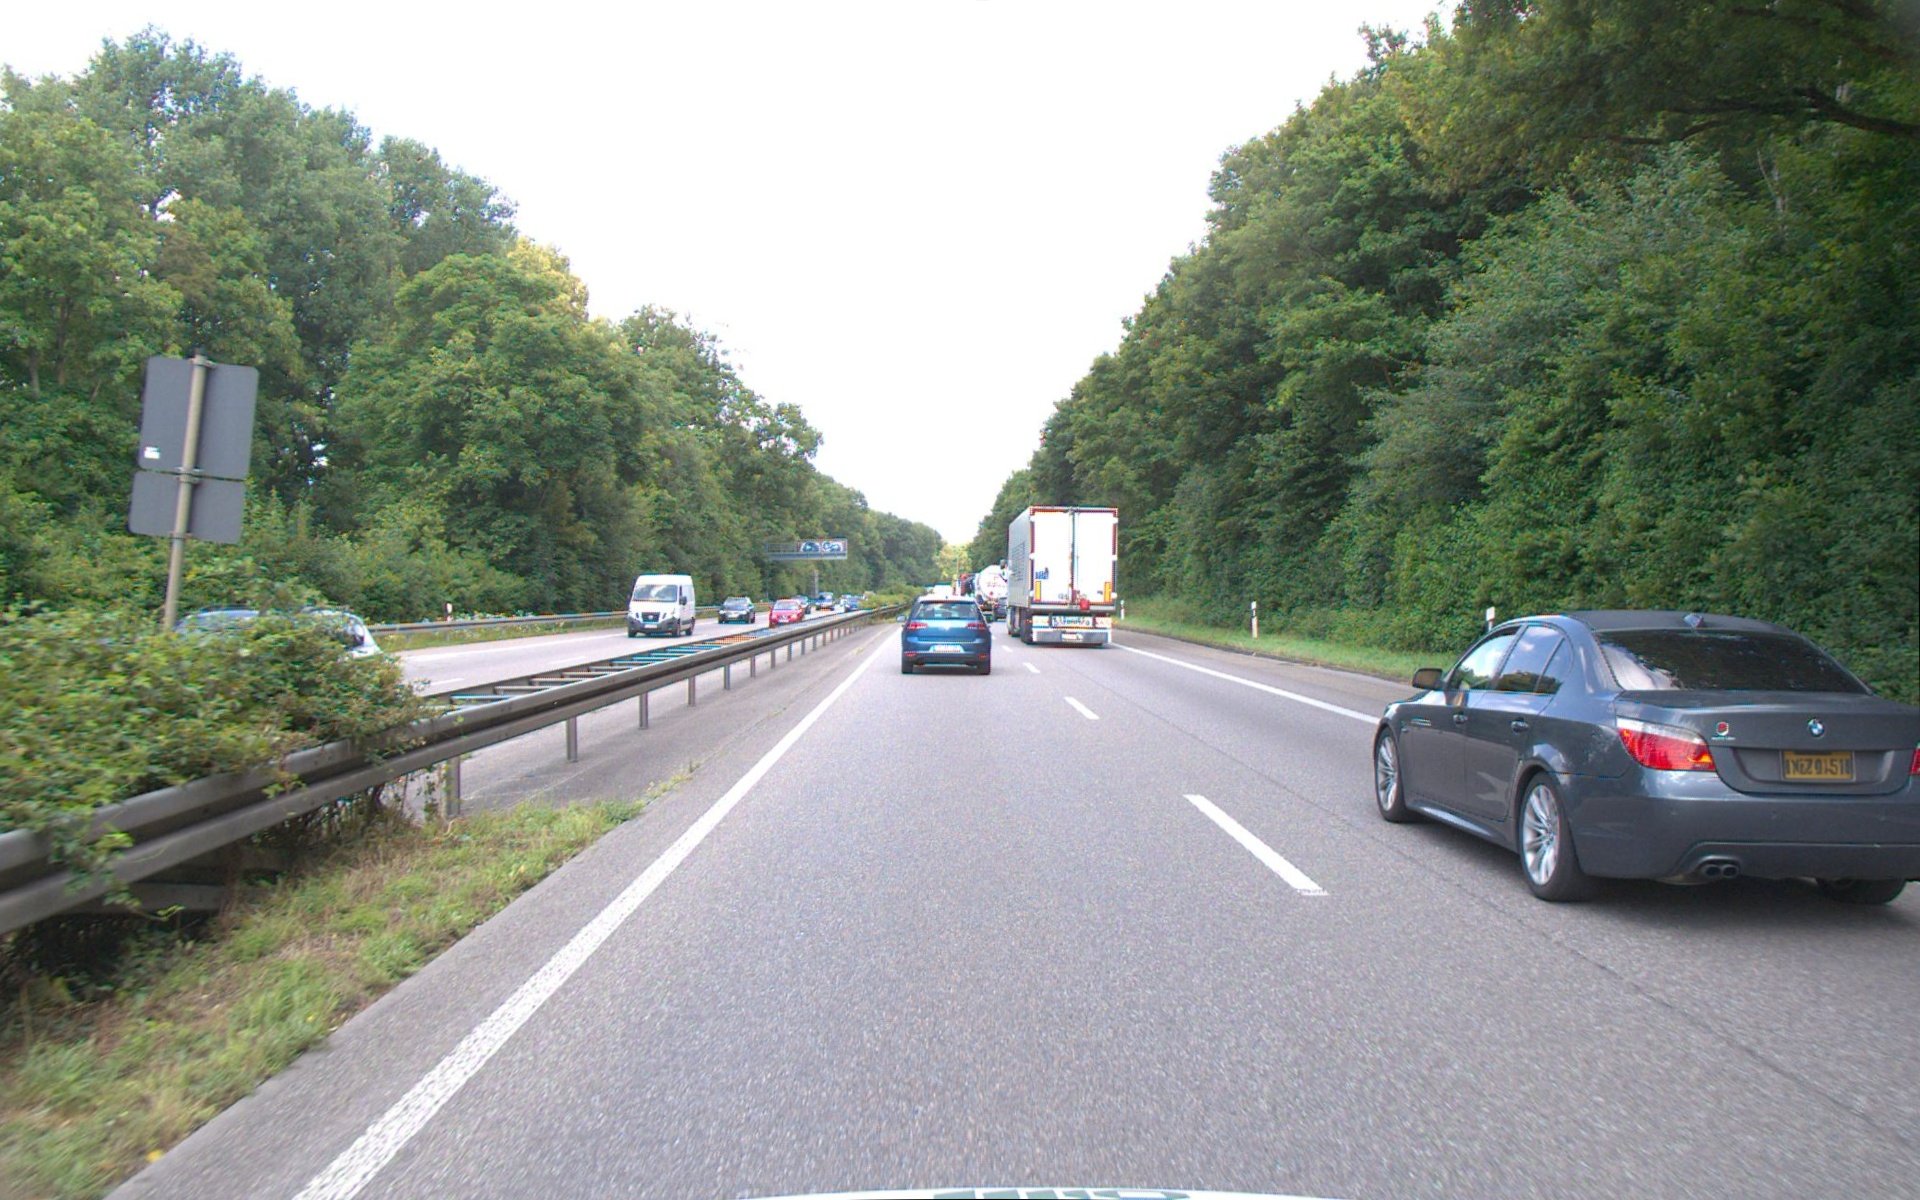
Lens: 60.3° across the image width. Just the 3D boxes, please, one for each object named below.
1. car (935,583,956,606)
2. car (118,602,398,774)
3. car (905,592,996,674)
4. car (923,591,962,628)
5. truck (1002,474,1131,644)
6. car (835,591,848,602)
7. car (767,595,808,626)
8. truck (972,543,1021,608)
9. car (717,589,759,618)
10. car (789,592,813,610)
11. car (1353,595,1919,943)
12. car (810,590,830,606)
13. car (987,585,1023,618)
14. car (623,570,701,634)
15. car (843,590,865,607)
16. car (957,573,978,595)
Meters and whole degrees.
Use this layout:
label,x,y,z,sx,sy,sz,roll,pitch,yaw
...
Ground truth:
label,x,y,z,sx,sy,sz,roll,pitch,yaw
car,-1.521,-0.565,171.625,1.954,2.294,4.439,0,0,-3
car,-7.436,0.855,17.872,1.553,1.636,3.532,0,0,-1
car,-0.215,0.602,32.480,1.670,1.495,3.999,1,0,-1
car,-0.751,0.377,71.324,1.631,1.526,4.151,0,0,0
truck,3.168,-1.217,52.378,3.176,4.798,11.005,-1,0,-1
car,-15.728,-0.447,218.859,1.506,1.421,3.510,-1,0,-1
car,-8.815,0.523,84.899,1.644,1.480,4.127,1,0,0
truck,2.544,-1.629,120.226,3.166,4.463,12.969,0,0,0
car,-12.851,0.197,95.996,1.749,1.503,4.569,-3,0,0
car,-13.443,0.069,139.786,1.646,1.546,4.858,0,0,-1
car,3.799,0.738,9.689,1.738,1.501,4.879,1,0,-1
car,-14.259,-0.209,168.883,1.724,1.621,4.632,0,0,-1
car,2.485,0.083,92.108,1.850,1.759,4.000,-1,0,-1
car,-12.012,0.063,67.010,2.068,2.465,5.830,1,0,0
car,-9.398,-0.144,146.803,1.745,1.546,4.265,-1,0,-1
car,0.778,-1.719,178.303,1.954,2.368,4.439,-1,0,-3
